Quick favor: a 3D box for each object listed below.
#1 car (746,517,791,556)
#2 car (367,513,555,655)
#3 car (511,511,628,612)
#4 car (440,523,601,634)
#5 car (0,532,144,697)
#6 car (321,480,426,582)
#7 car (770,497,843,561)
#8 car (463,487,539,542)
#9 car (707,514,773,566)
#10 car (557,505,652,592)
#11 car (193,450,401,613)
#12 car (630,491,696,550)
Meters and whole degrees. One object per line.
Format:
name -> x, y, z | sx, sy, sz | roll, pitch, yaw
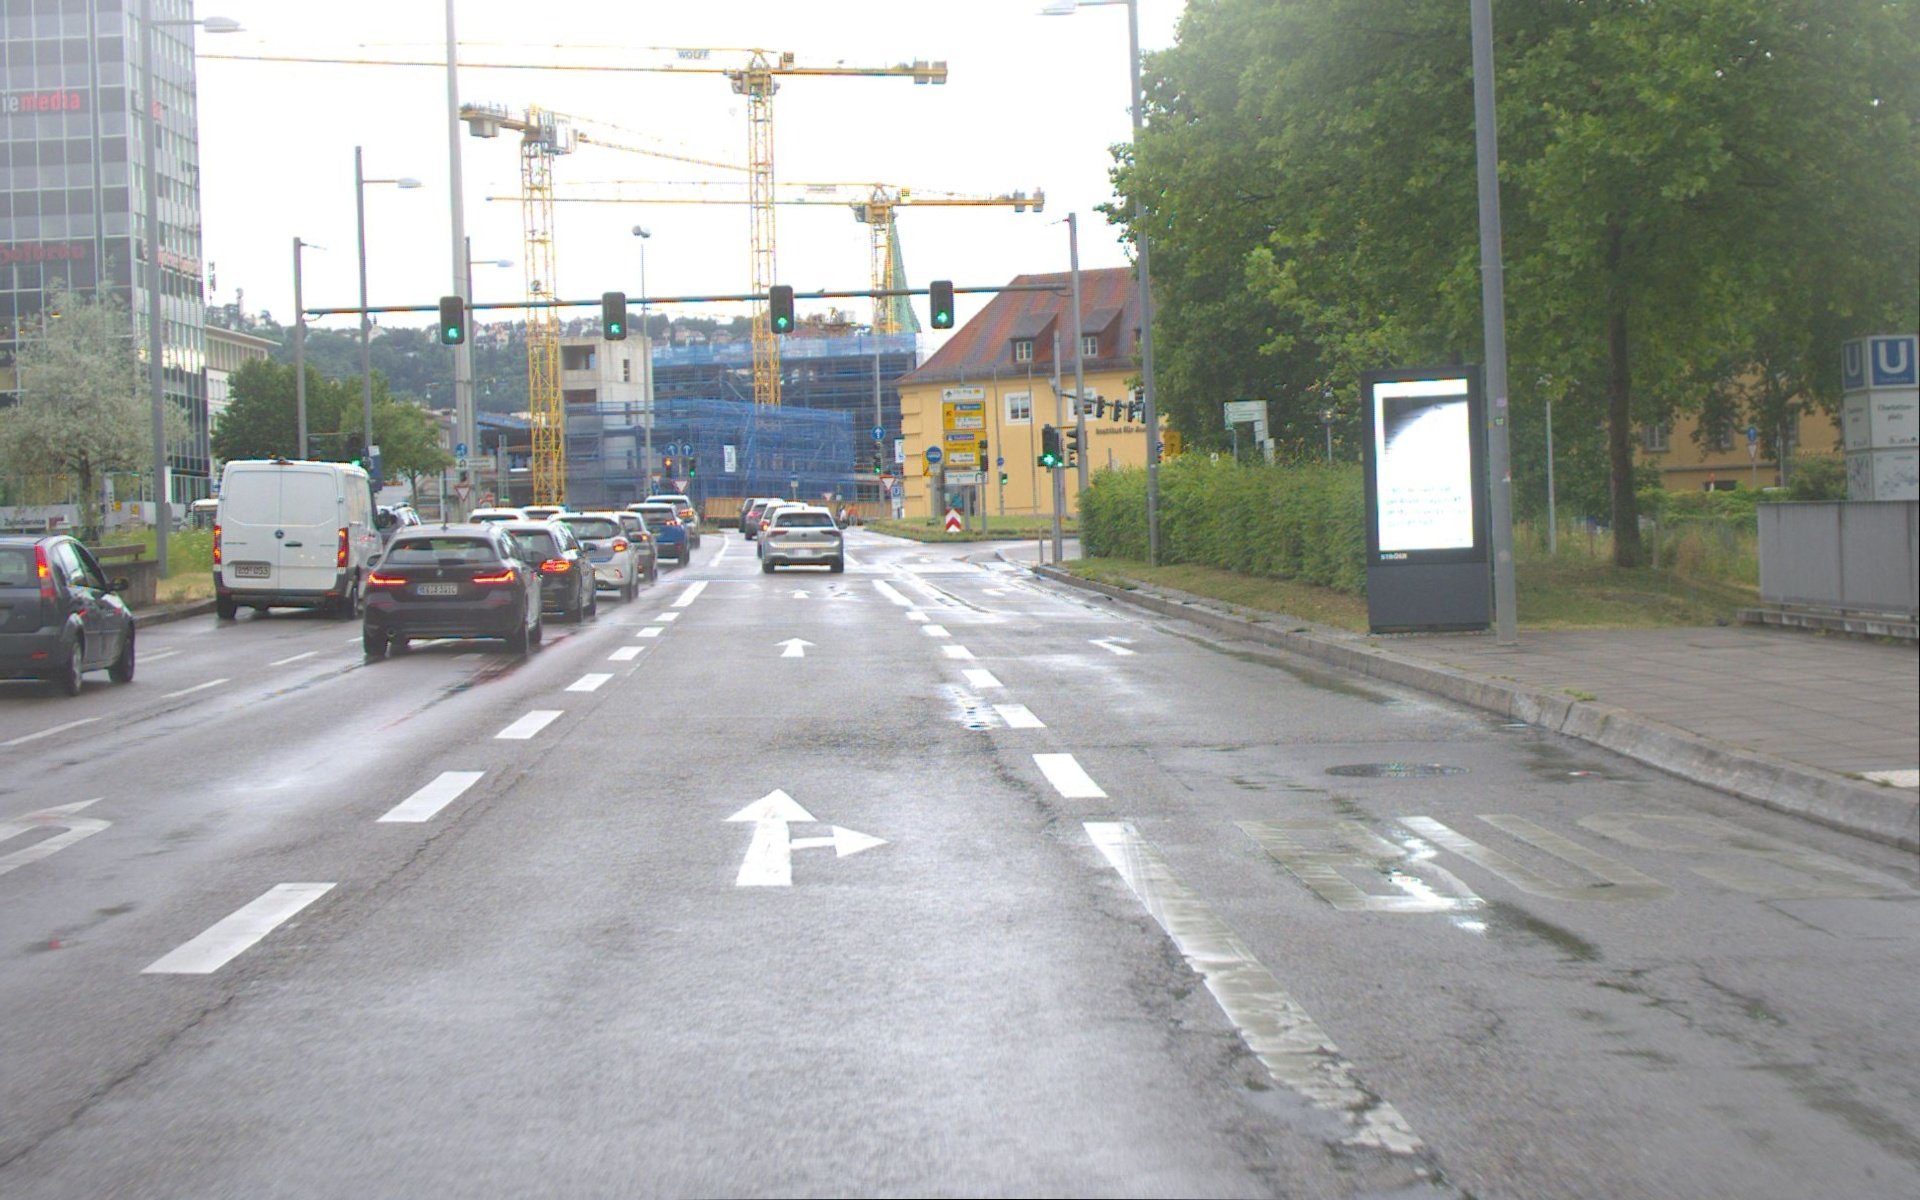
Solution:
car -> -5.131, -1.689, 92.174 | 1.076, 0.987, 1.971 | -1, -1, 1
car -> -5.619, -0.224, 39.130 | 1.753, 1.466, 4.223 | -1, 2, -4
car -> -6.634, -0.644, 58.625 | 1.880, 1.647, 3.458 | -1, 0, -5
car -> -6.121, -0.299, 48.173 | 1.830, 1.489, 3.399 | -1, 0, 0
car -> -8.527, 0.117, 31.268 | 1.542, 1.410, 3.902 | -1, 0, -4
car -> -10.047, -1.163, 59.047 | 1.464, 1.700, 3.142 | -1, 0, -4
car -> -3.335, -1.536, 75.137 | 1.444, 1.354, 2.412 | -1, 0, 1
car -> -10.911, -2.021, 81.848 | 1.551, 1.256, 2.581 | -1, 0, -3
car -> -8.143, -2.213, 127.578 | 2.161, 1.873, 3.770 | -1, 0, 1
car -> -7.327, -1.044, 71.053 | 1.716, 1.721, 3.495 | -1, 0, -2
car -> -9.875, -0.986, 51.604 | 2.292, 2.306, 5.006 | -1, 0, -2
car -> -7.251, -1.928, 84.074 | 1.493, 1.365, 3.033 | -1, 0, -3
